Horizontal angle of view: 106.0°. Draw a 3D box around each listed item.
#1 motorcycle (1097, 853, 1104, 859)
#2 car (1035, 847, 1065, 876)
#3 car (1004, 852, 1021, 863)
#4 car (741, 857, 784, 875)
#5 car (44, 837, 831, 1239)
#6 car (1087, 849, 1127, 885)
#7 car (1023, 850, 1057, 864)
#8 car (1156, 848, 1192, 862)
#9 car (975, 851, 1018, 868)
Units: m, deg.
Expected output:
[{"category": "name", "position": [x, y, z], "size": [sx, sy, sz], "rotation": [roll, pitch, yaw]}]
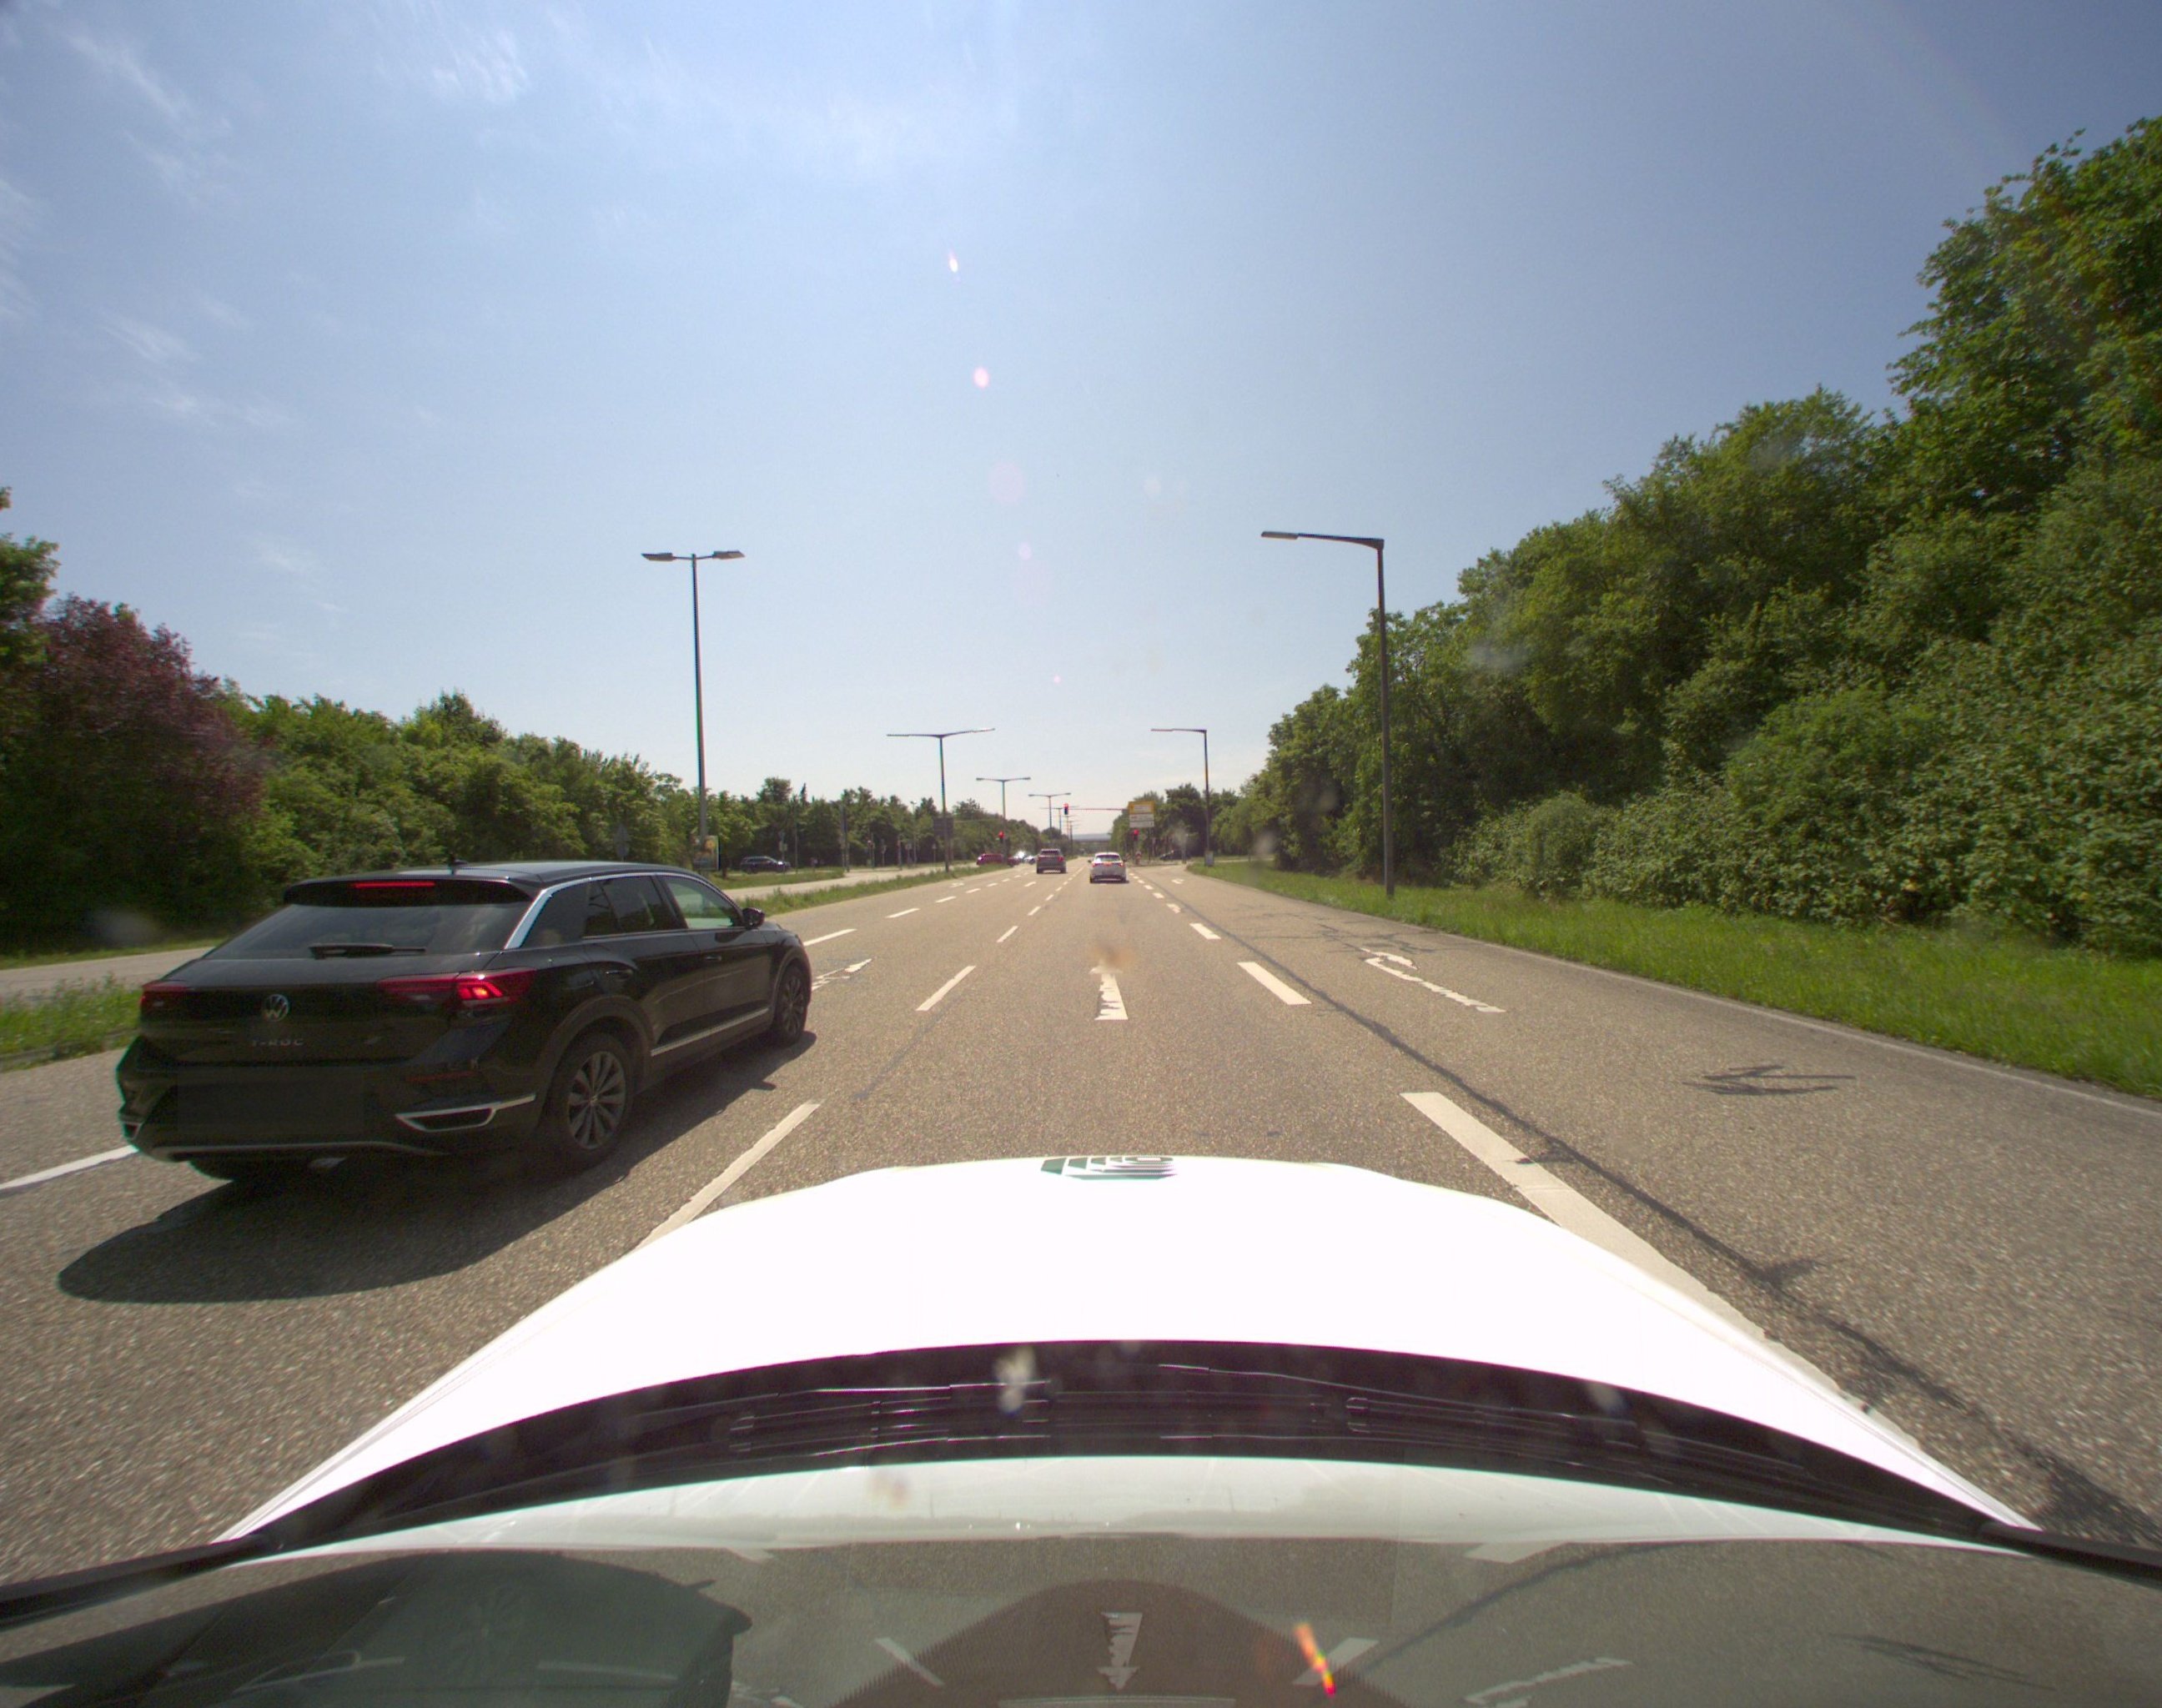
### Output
[{"category": "motorcycle", "position": [4.165, 0.400, 170.538], "size": [1.419, 1.281, 2.570], "rotation": [-3, 0, 1]}, {"category": "car", "position": [-2.130, 0.537, 57.280], "size": [1.749, 1.929, 4.002], "rotation": [-2, 0, 2]}, {"category": "car", "position": [-9.843, 0.495, 116.830], "size": [1.820, 1.519, 4.005], "rotation": [-1, 0, 4]}, {"category": "car", "position": [-34.481, 1.325, 88.287], "size": [3.989, 1.830, 1.993], "rotation": [-1, 0, -11]}, {"category": "car", "position": [-3.186, 0.735, 5.241], "size": [1.749, 1.556, 4.002], "rotation": [-2, 0, 2]}, {"category": "car", "position": [1.289, 0.596, 39.952], "size": [1.790, 1.583, 4.002], "rotation": [-2, 0, 2]}, {"category": "car", "position": [-5.062, 0.358, 100.926], "size": [4.097, 1.525, 1.934], "rotation": [-2, 0, -7]}, {"category": "car", "position": [11.712, 0.113, 102.653], "size": [4.097, 1.525, 1.934], "rotation": [-2, 0, -7]}, {"category": "car", "position": [-9.001, 0.568, 87.140], "size": [4.516, 1.641, 1.974], "rotation": [-1, 0, -5]}]
